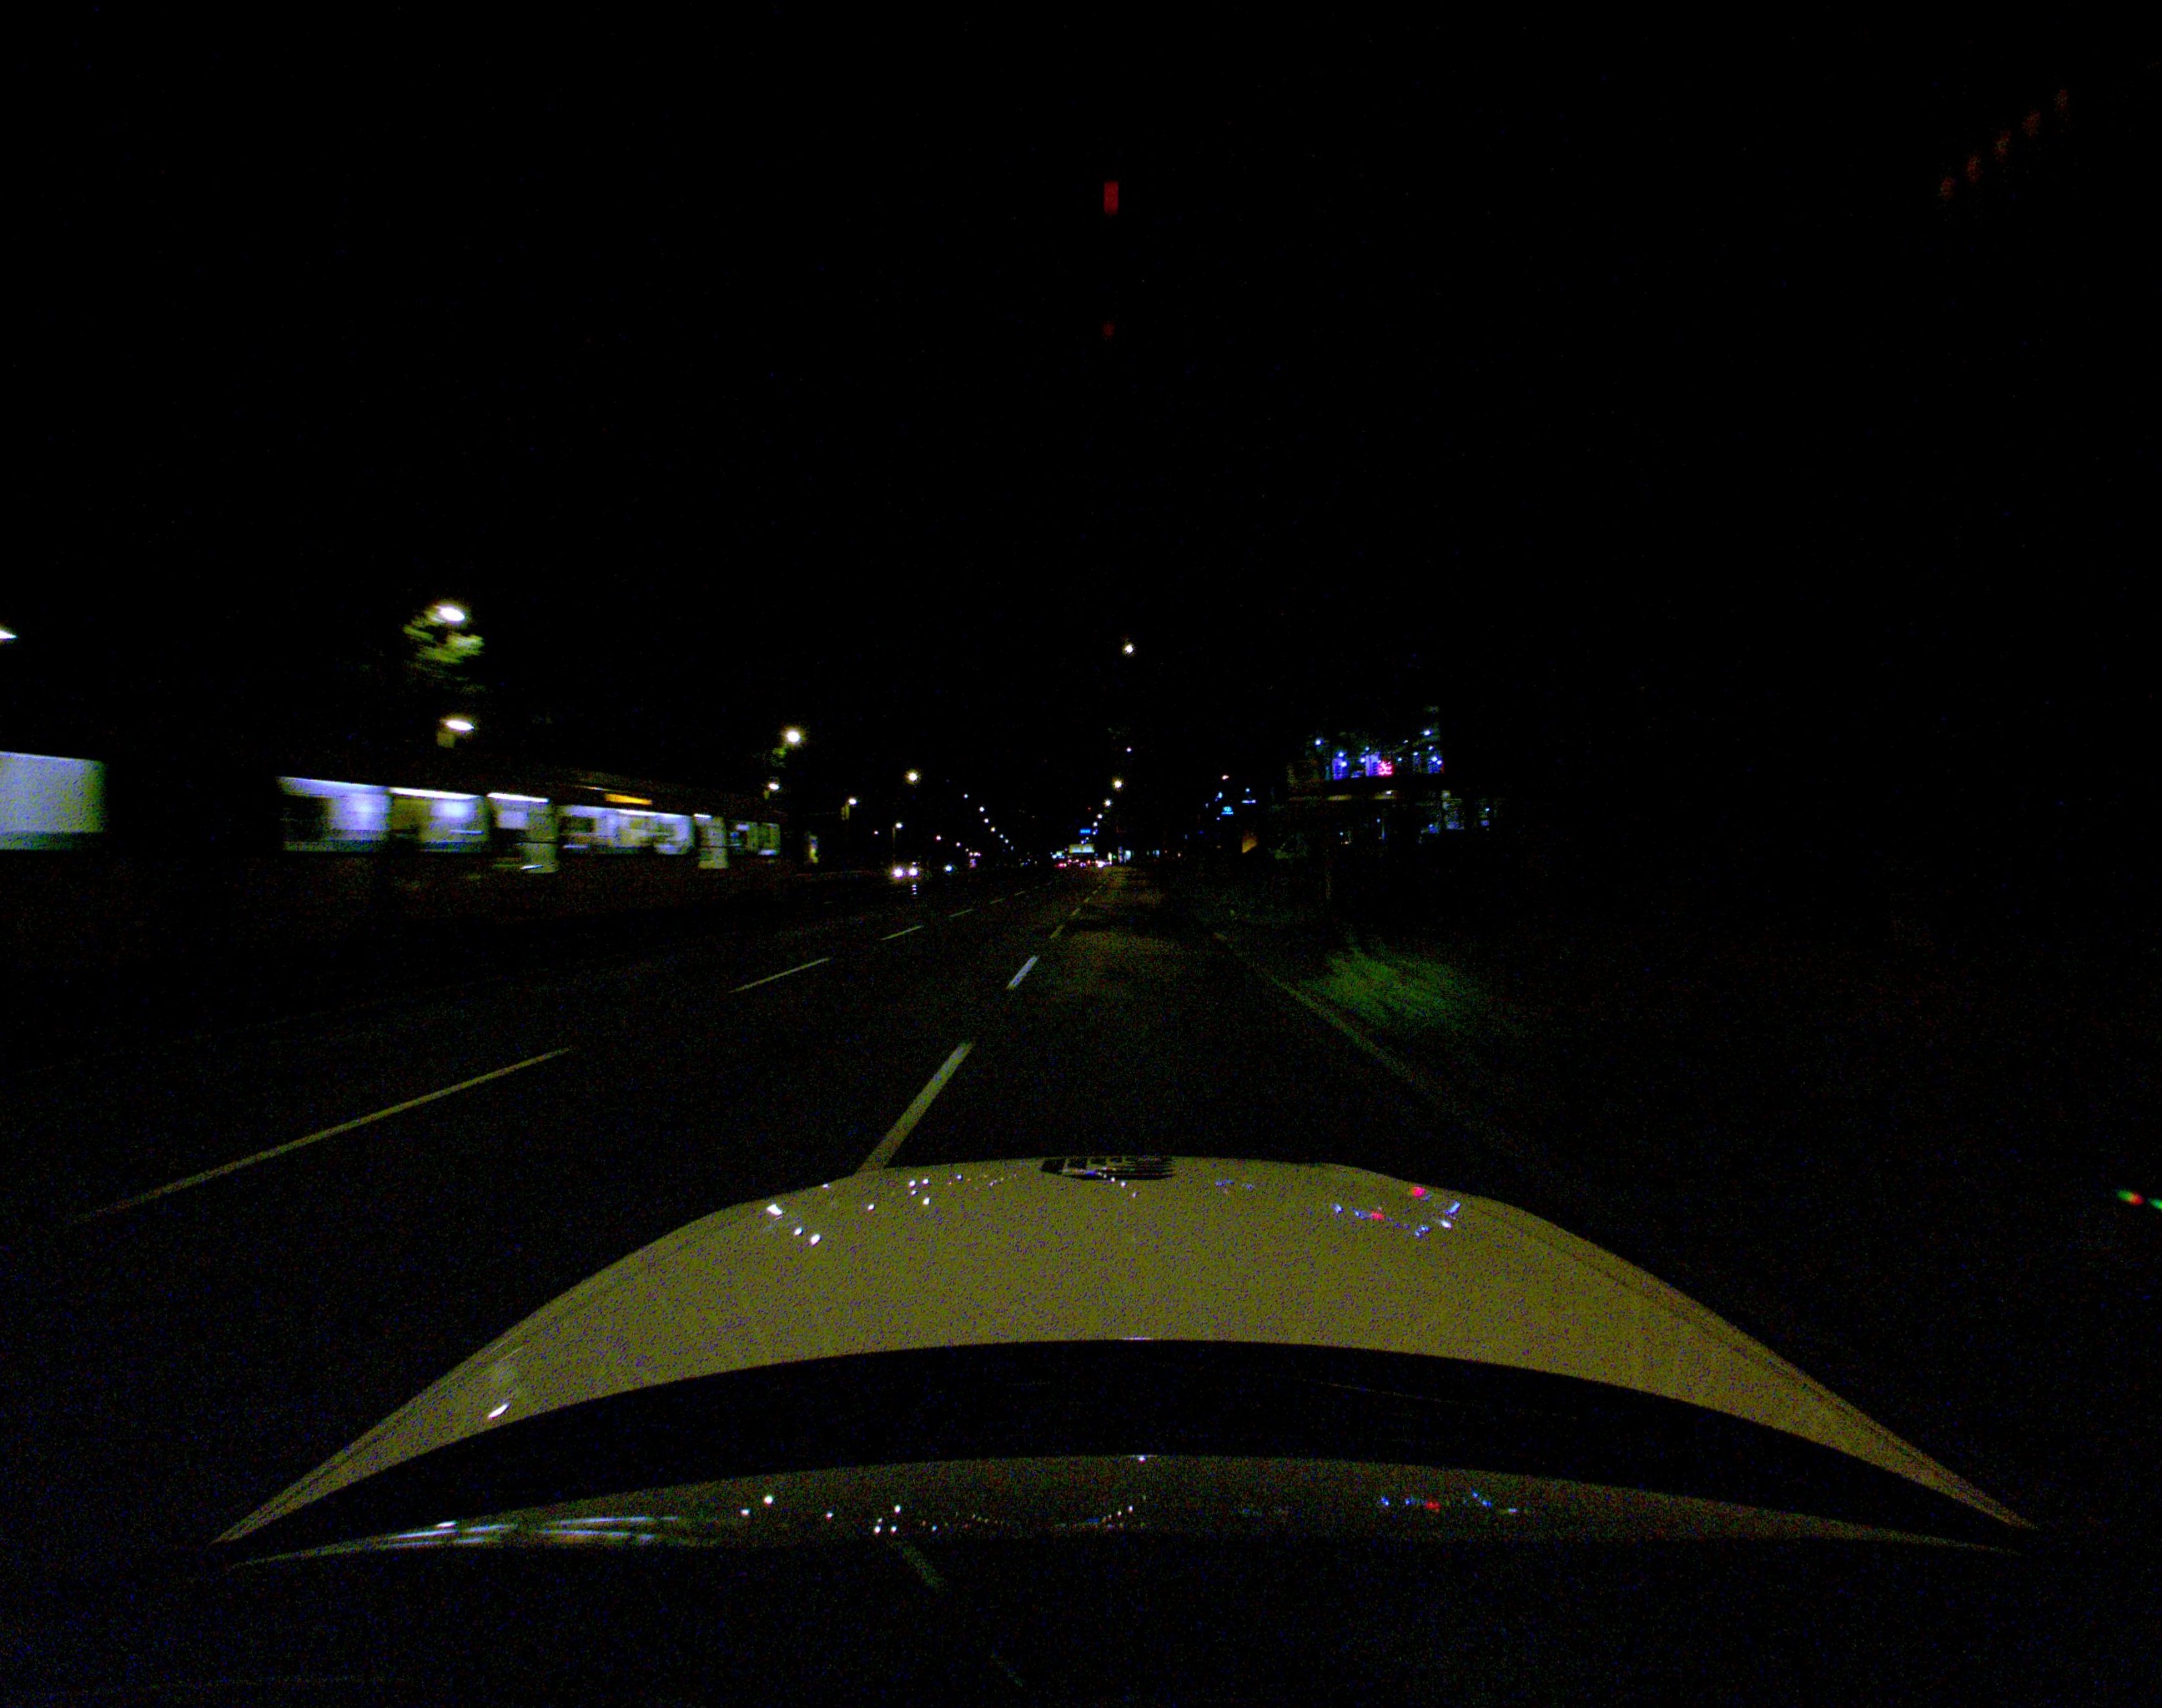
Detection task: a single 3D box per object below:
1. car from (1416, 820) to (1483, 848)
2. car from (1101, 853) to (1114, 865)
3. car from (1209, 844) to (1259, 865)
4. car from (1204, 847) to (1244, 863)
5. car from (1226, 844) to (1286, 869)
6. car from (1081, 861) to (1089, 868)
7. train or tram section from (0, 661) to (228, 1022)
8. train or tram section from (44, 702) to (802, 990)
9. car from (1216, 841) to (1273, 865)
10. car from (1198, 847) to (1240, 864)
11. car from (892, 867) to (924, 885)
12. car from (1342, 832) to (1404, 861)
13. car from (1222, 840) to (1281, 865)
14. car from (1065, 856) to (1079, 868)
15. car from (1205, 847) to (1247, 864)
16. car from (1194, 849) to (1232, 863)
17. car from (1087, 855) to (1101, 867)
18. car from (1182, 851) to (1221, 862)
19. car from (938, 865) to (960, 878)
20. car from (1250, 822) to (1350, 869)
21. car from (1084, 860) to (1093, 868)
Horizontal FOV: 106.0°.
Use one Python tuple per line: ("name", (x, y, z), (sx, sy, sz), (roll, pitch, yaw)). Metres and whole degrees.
("car", (25.121, -1.329, 55.674), (1.800, 1.577, 3.940), (-7, 1, -20))
("car", (5.074, 0.995, 156.140), (2.418, 2.113, 4.827), (-1, -1, 2))
("car", (14.244, 0.025, 75.811), (4.079, 1.568, 1.849), (-6, 0, -9))
("car", (15.227, 0.118, 86.916), (3.770, 1.378, 1.710), (-6, 0, -12))
("car", (13.925, 0.230, 64.957), (4.201, 1.663, 1.955), (-4, 0, -9))
("car", (1.111, 2.673, 212.174), (1.880, 1.860, 4.001), (-1, -1, 2))
("train or tram section", (-13.369, -0.140, 1.233), (2.726, 3.846, 19.382), (-1, 0, 4))
("train or tram section", (-12.108, -0.068, 20.307), (2.747, 3.827, 18.687), (-1, 0, 3))
("car", (14.605, -0.118, 72.801), (4.460, 1.687, 1.994), (-6, 0, -9))
("car", (15.147, 0.169, 89.563), (4.029, 1.373, 1.817), (-5, 0, -14))
("car", (-15.154, 1.922, 71.385), (1.778, 1.497, 4.175), (-1, -2, 1))
("car", (19.725, -0.491, 55.171), (1.812, 1.712, 3.940), (-4, 0, -20))
("car", (14.601, -0.114, 69.932), (4.459, 1.810, 1.994), (-4, 0, -9))
("car", (-1.535, 1.319, 139.501), (2.254, 2.014, 4.827), (-1, -1, 2))
("car", (15.028, 0.150, 84.352), (3.805, 1.453, 1.710), (-4, 0, -12))
("car", (15.388, 0.178, 95.026), (4.001, 1.391, 1.814), (-3, 1, -21))
("car", (2.326, 1.213, 141.633), (2.347, 2.129, 4.827), (-1, -1, 2))
("car", (15.667, 0.363, 105.847), (4.649, 1.264, 1.932), (-2, 0, -23))
("car", (-16.011, 2.133, 98.918), (1.653, 1.516, 3.914), (-1, -1, 4))
("car", (14.792, -0.571, 55.081), (6.028, 2.529, 2.272), (-7, 1, -15))
("car", (1.761, 2.280, 184.655), (1.880, 1.860, 4.001), (-1, -1, 2))
